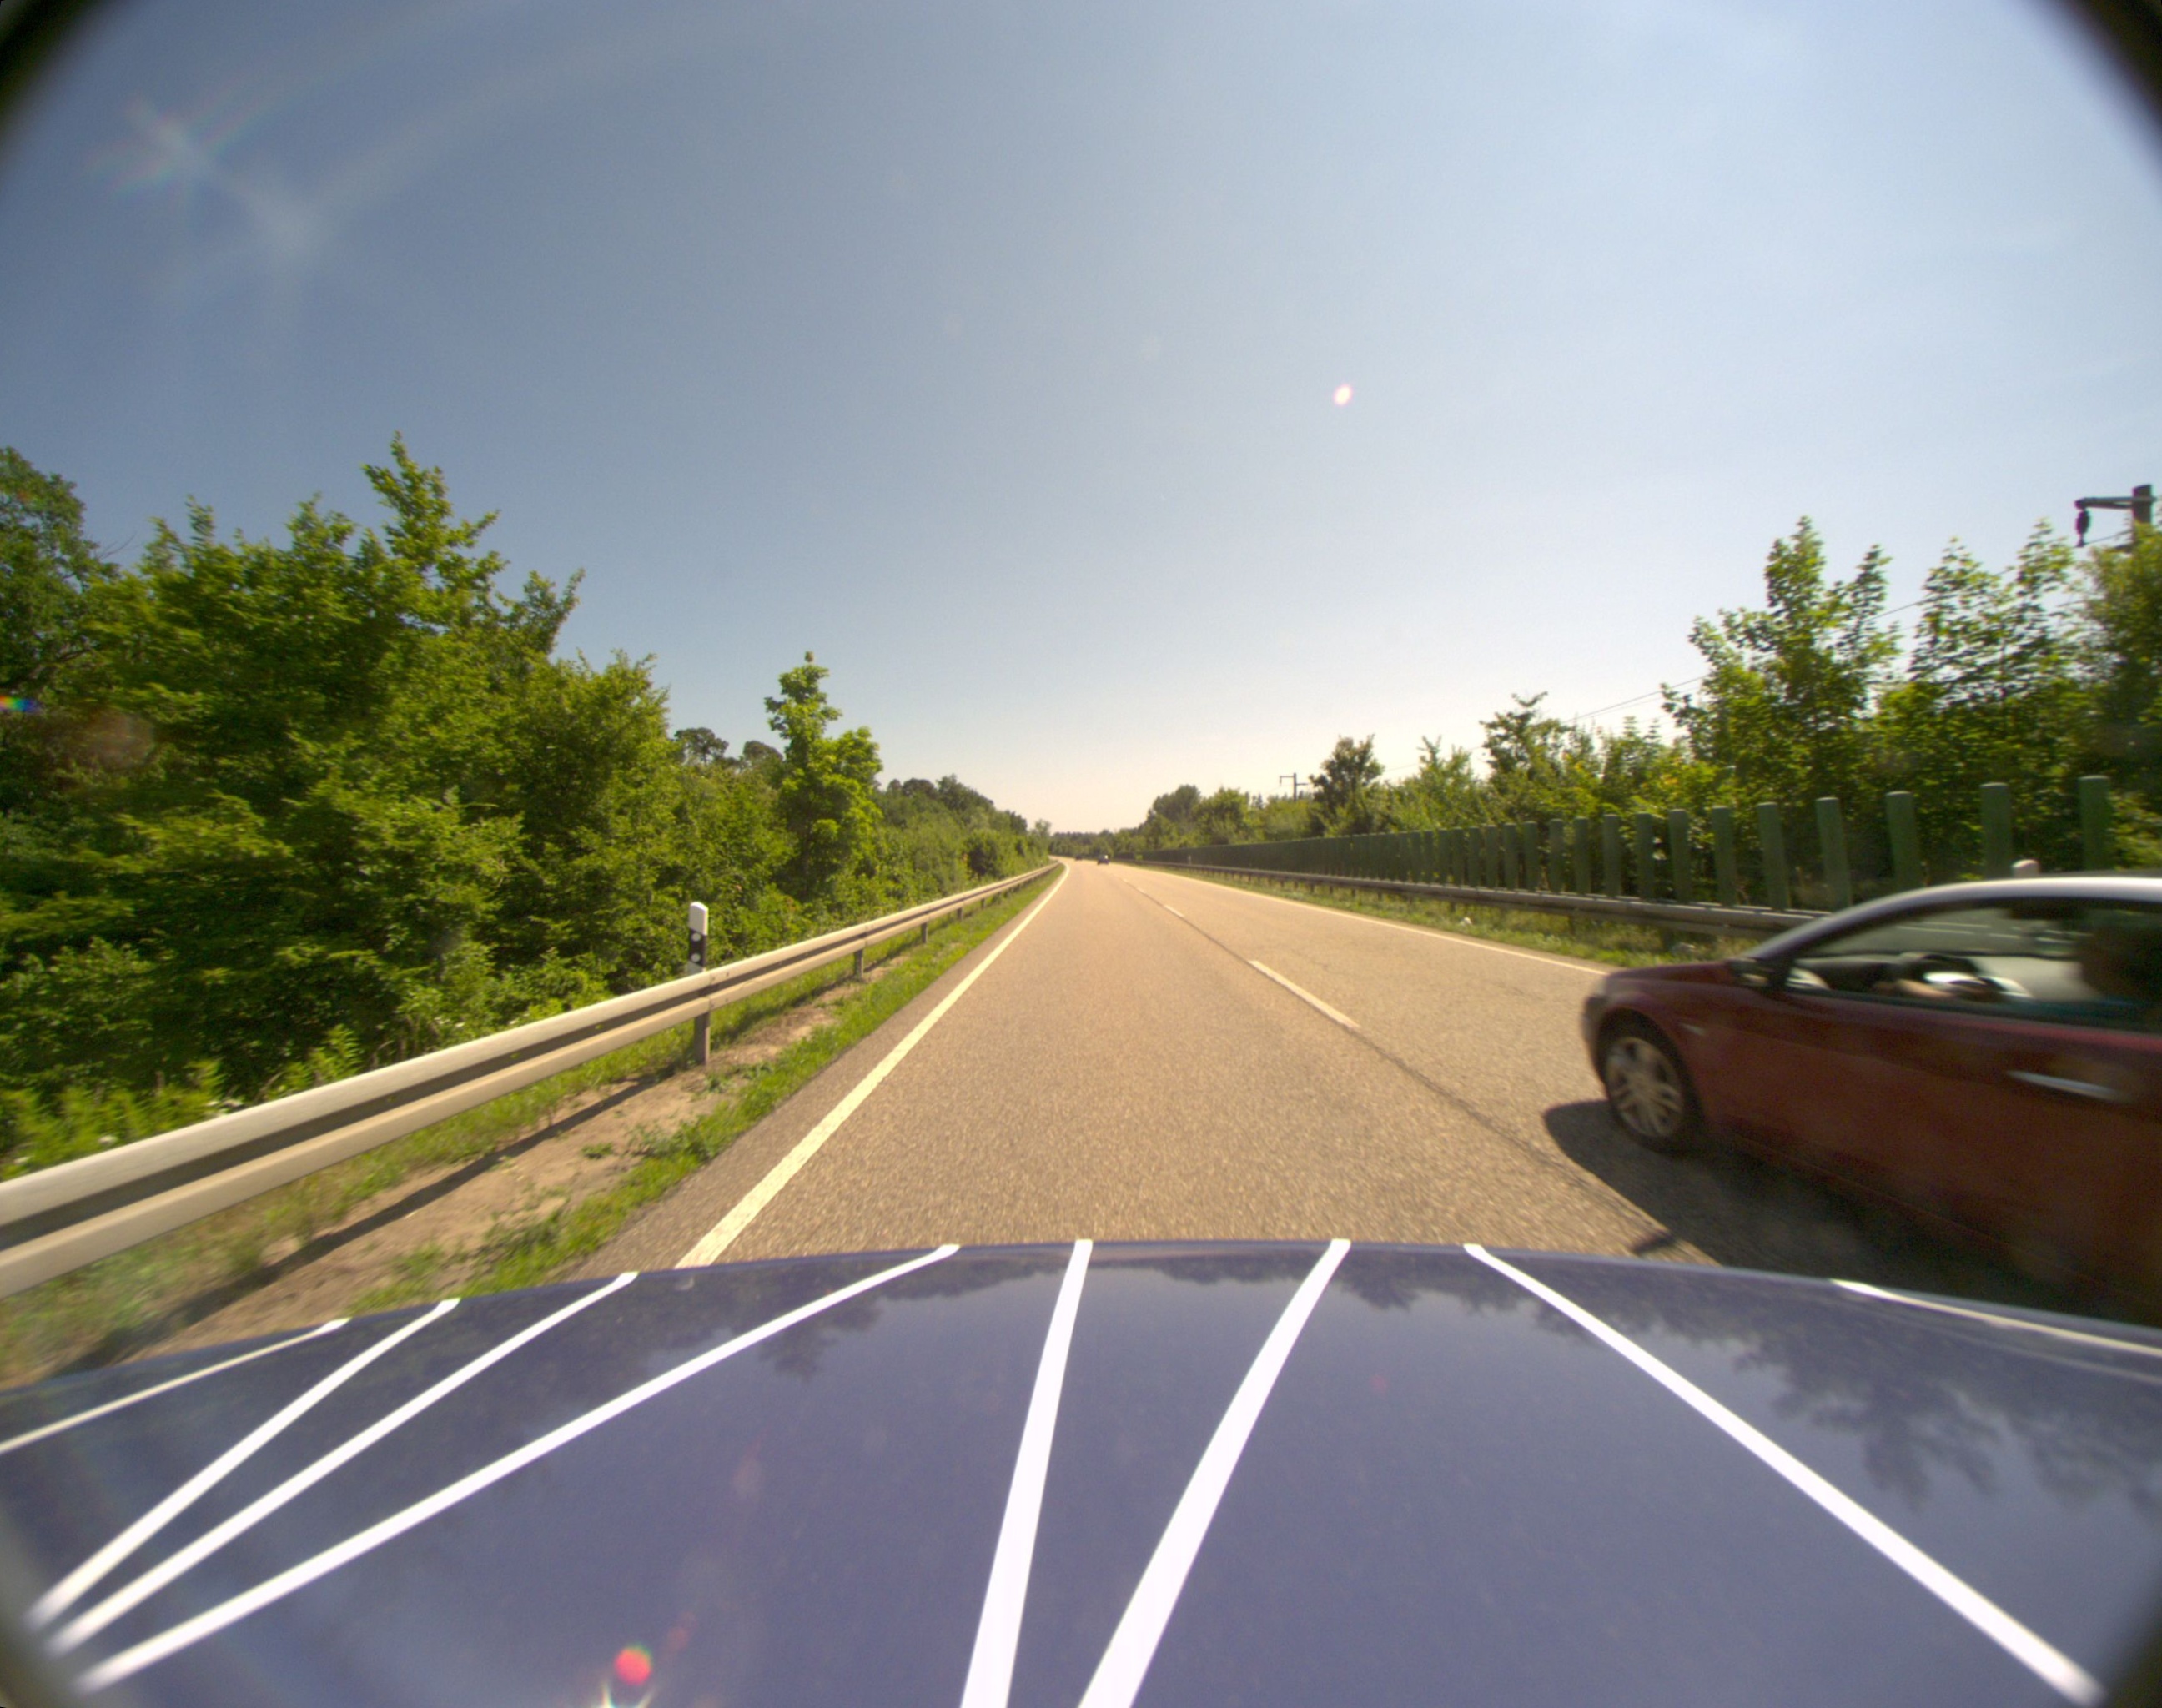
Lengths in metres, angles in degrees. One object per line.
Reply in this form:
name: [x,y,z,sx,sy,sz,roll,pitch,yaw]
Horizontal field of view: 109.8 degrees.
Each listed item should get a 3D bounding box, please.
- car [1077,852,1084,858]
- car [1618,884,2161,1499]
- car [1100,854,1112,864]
car: [-0.066,0.296,215.964,1.768,1.630,4.126,-2,0,1]
car: [3.512,0.866,1.787,1.791,1.364,3.897,-2,0,1]
car: [3.967,0.810,119.819,1.653,1.470,3.676,-2,0,-1]
